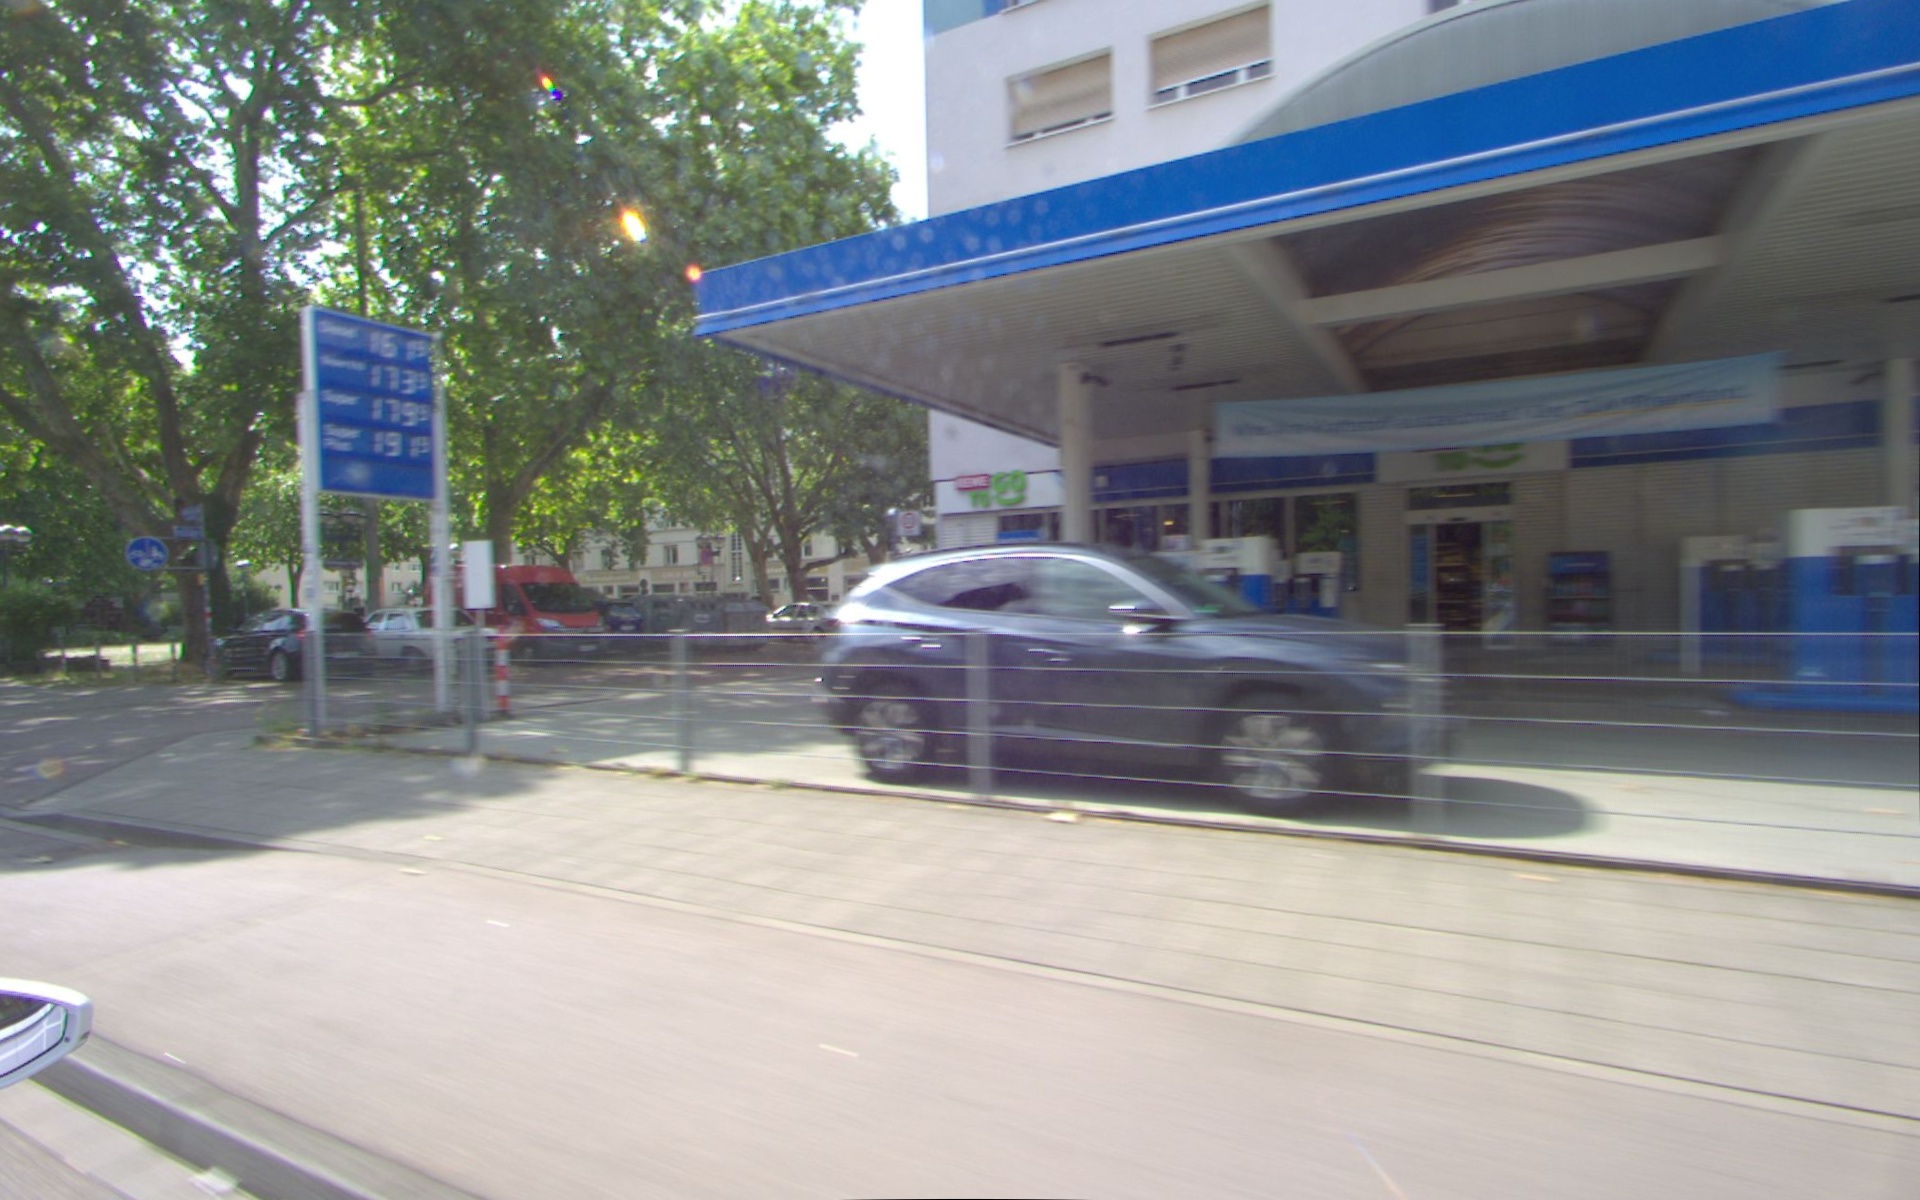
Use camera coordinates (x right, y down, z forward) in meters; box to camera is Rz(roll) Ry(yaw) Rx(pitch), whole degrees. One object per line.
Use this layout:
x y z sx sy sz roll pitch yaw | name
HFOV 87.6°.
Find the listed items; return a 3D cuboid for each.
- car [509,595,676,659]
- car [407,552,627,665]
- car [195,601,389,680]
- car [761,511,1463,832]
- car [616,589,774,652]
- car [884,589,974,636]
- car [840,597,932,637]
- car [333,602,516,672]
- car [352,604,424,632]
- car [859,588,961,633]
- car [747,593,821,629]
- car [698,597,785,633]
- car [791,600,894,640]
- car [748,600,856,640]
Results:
-10.332 0.750 28.075 4.584 1.672 2.003 -1 -1 31 | car
-11.391 0.235 25.605 5.931 2.617 2.107 -1 1 31 | car
-13.798 0.797 20.650 3.981 1.490 1.647 -1 1 29 | car
0.934 0.397 6.997 4.514 1.623 1.803 -1 0 30 | car
-8.011 0.618 30.172 4.584 1.777 2.003 -1 -1 31 | car
-1.379 0.573 44.644 3.585 2.014 1.821 -1 -1 27 | car
-2.967 0.695 39.903 3.324 1.528 1.598 -1 -1 27 | car
-12.238 0.816 22.857 3.978 1.448 1.648 -1 1 26 | car
-44.438 1.361 77.817 2.046 2.040 4.407 -1 0 30 | car
-2.134 0.461 42.456 3.984 1.844 1.821 -1 -1 27 | car
-10.271 0.622 58.634 2.046 2.040 4.248 -1 0 29 | car
-10.794 0.735 49.804 1.970 1.658 4.146 -1 0 29 | car
-4.432 0.746 37.688 3.585 1.433 1.644 -1 -1 27 | car
-5.659 0.715 35.870 3.585 1.381 1.579 -1 -1 27 | car
